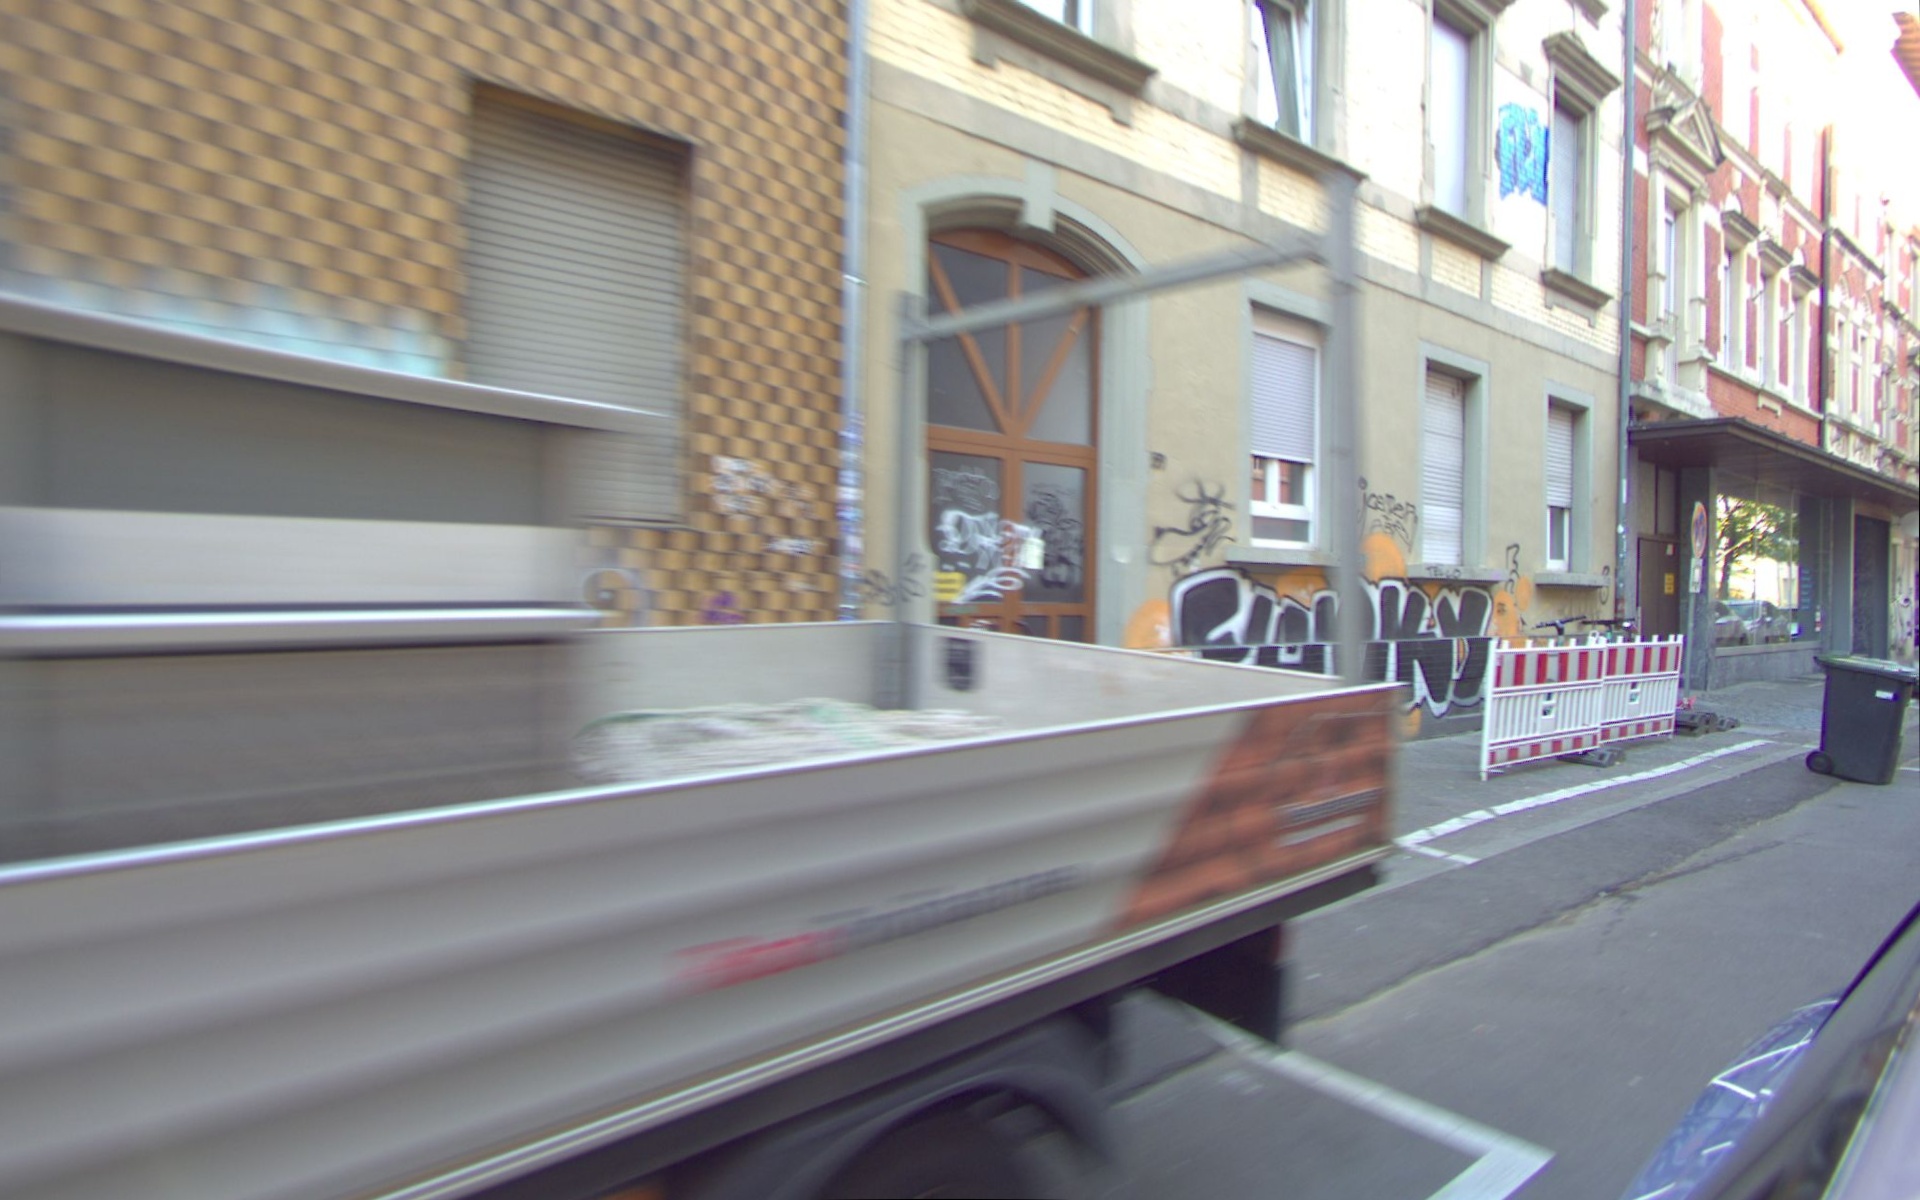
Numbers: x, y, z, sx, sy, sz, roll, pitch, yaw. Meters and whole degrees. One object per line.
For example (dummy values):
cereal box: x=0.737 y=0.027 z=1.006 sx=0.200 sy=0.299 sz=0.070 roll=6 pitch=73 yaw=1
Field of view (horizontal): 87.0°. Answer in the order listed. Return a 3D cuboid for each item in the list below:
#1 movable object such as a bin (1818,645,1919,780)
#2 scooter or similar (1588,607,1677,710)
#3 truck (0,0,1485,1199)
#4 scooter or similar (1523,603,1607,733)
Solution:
movable object such as a bin: x=8.135 y=0.965 z=8.900 sx=0.674 sy=1.070 sz=0.742 roll=0 pitch=1 yaw=-37
scooter or similar: x=8.129 y=0.676 z=12.215 sx=1.418 sy=1.157 sz=0.389 roll=0 pitch=4 yaw=-38
truck: x=-1.861 y=0.131 z=1.313 sx=6.142 sy=2.688 sz=2.154 roll=0 pitch=5 yaw=-40
scooter or similar: x=6.394 y=0.675 z=10.663 sx=0.454 sy=1.224 sz=1.423 roll=6 pitch=5 yaw=40
